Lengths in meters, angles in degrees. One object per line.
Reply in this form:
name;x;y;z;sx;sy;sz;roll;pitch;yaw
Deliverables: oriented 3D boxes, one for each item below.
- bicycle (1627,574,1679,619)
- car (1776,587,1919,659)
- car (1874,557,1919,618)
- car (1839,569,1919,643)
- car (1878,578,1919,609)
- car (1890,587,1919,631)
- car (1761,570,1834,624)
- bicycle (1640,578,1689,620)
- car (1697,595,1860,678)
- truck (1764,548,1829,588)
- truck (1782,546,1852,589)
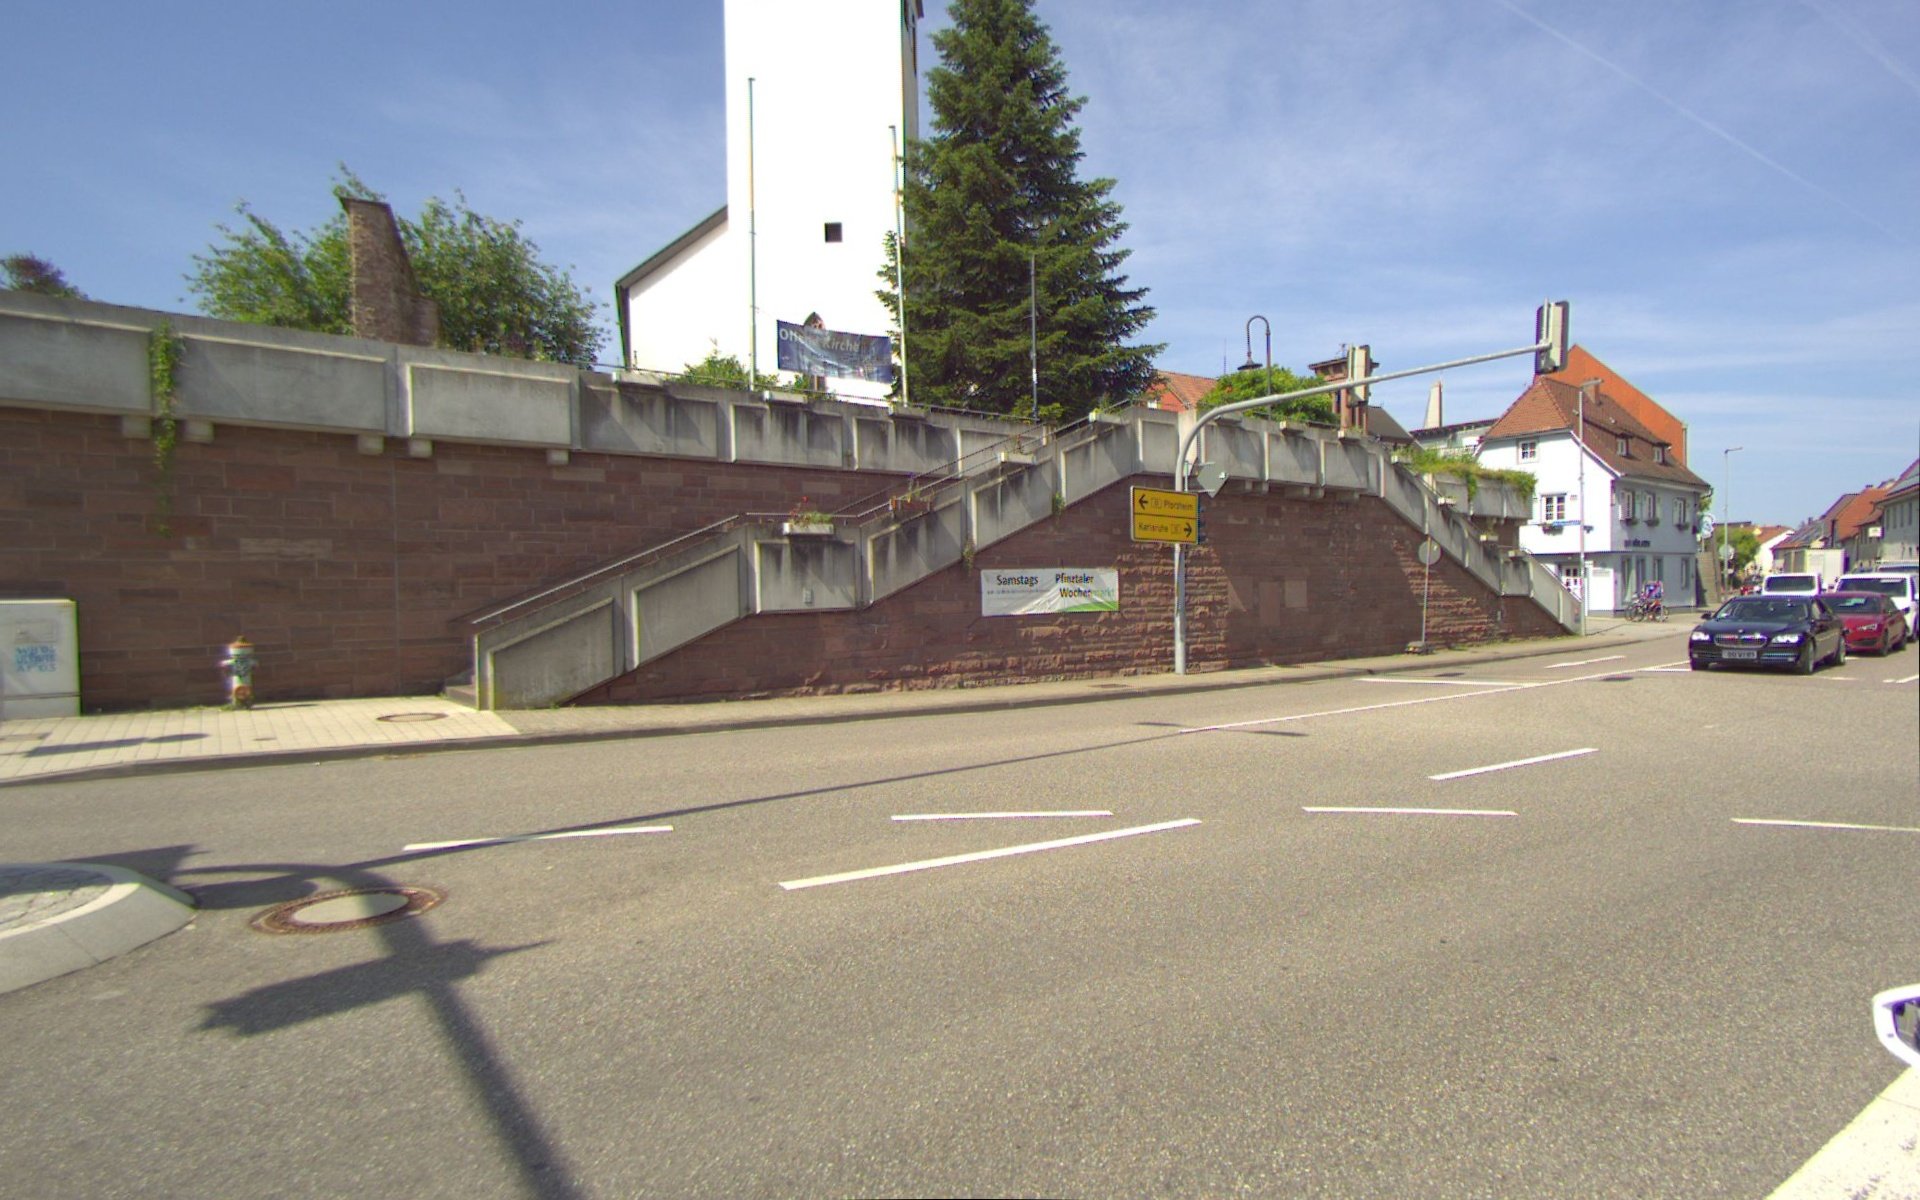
bicycle;28.317;-0.149;41.032;2.638;1.803;0.638;0;2;-30
car;21.960;0.480;24.567;4.904;1.535;2.142;-1;1;-39
car;37.304;-0.477;39.393;1.736;2.276;4.533;2;2;38
car;26.526;0.123;28.531;4.926;1.932;1.804;-1;1;-42
car;49.287;-0.354;52.489;1.765;1.546;3.985;-1;0;41
car;32.080;0.292;33.264;1.555;1.403;3.544;2;2;38
car;33.626;-0.113;40.332;2.112;1.993;5.251;-1;0;41
bicycle;28.019;-0.029;39.924;2.532;1.629;0.555;0;2;-30
car;16.470;0.648;20.140;4.213;1.454;1.805;-1;1;-40
truck;80.909;-3.027;97.395;3.114;3.507;10.687;3;2;31
truck;75.711;-2.823;88.906;3.177;3.597;9.207;2;2;32
